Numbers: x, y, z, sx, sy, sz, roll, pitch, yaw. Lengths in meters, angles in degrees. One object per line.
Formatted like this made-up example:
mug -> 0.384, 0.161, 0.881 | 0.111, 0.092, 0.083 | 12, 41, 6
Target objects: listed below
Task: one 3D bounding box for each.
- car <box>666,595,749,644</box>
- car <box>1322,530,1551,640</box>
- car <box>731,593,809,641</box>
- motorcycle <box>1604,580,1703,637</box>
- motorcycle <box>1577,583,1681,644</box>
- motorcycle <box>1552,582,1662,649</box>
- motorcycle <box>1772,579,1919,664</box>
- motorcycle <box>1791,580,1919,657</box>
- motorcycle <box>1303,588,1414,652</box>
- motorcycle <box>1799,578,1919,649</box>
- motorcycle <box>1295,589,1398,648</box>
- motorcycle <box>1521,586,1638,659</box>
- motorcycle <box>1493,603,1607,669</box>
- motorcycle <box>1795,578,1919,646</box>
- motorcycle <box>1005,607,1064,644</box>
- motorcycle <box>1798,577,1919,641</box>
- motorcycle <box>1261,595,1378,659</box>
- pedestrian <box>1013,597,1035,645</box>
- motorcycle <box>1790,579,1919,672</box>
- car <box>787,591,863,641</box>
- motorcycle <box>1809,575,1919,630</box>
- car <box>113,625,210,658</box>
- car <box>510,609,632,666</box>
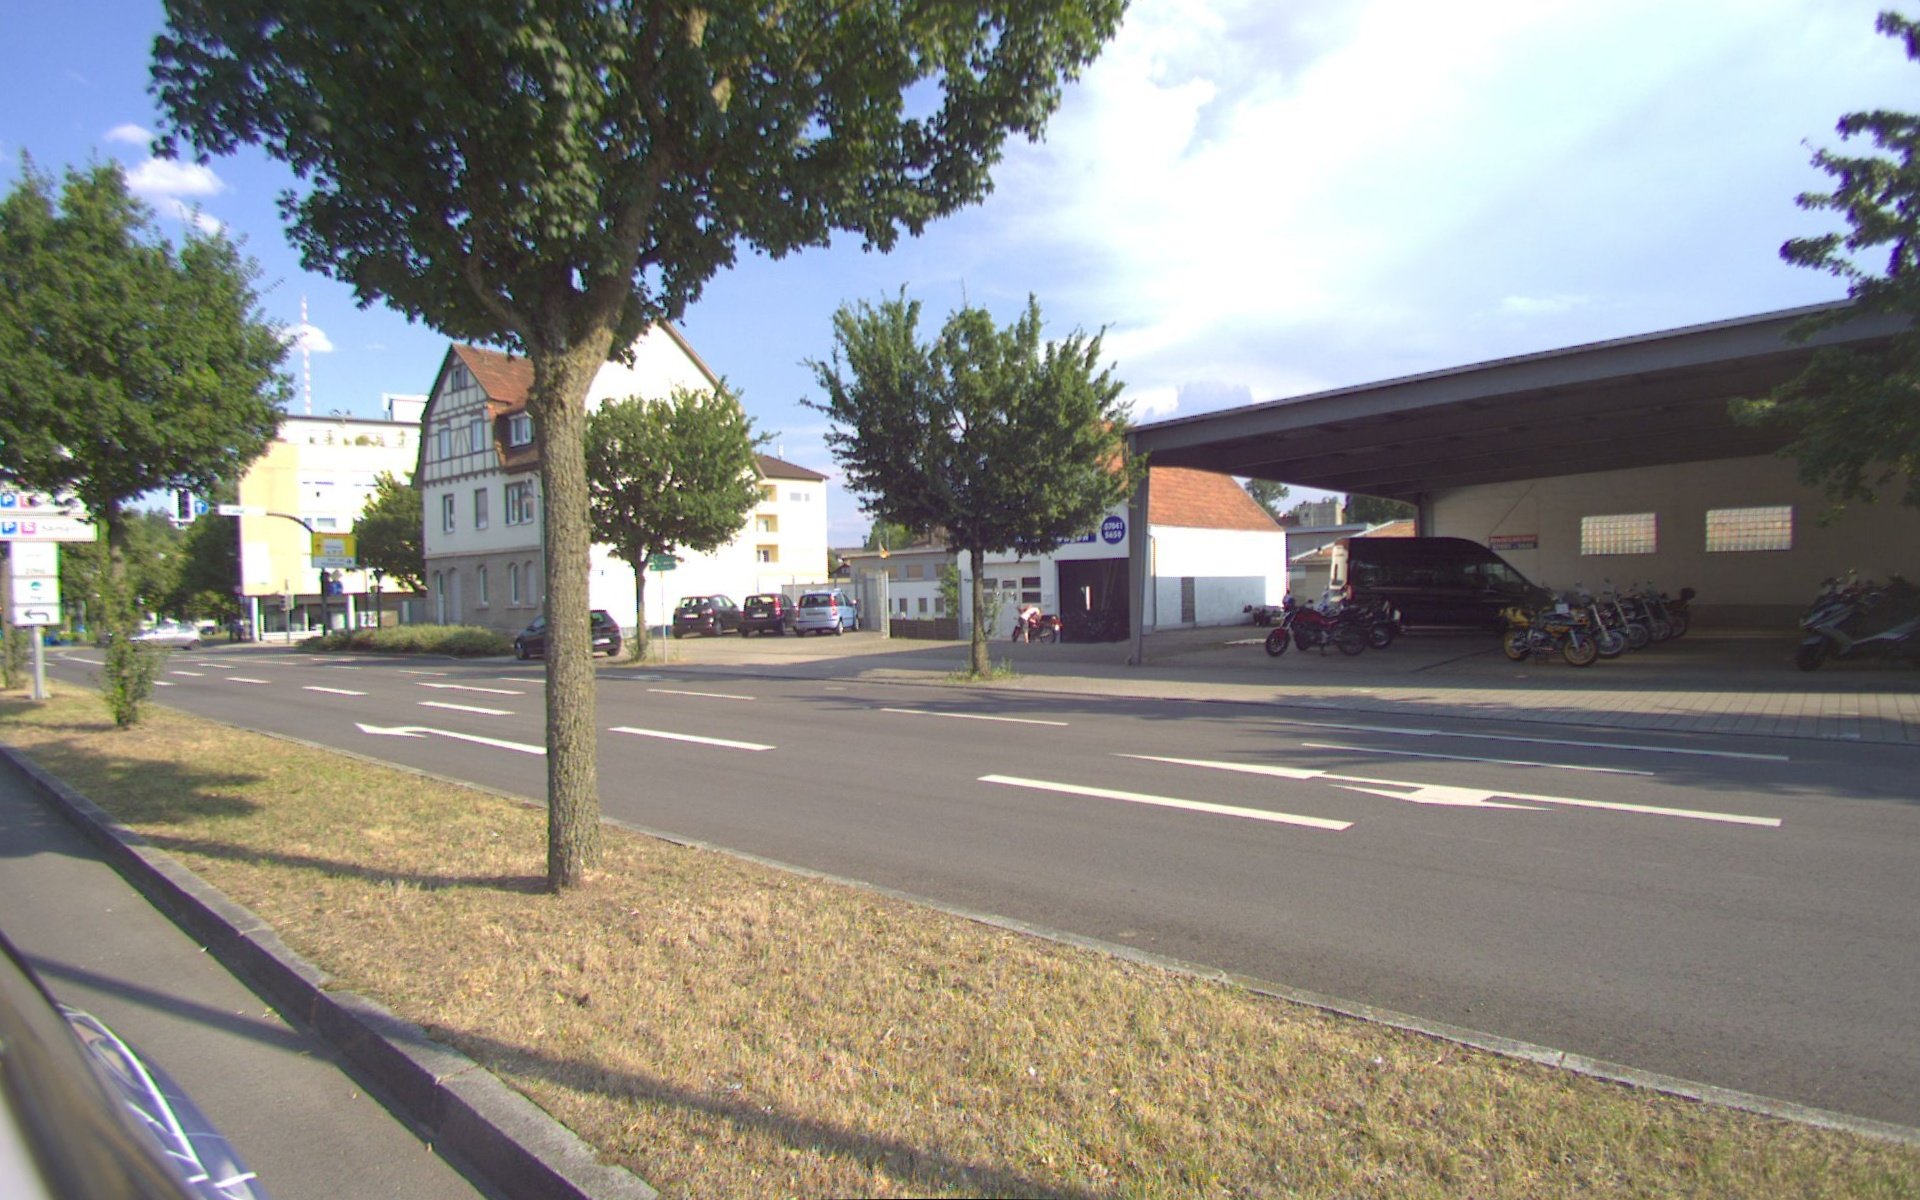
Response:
car -> -9.324, 0.684, 37.706 | 1.797, 1.512, 3.819 | -3, 2, 5
car -> 12.864, -0.382, 27.635 | 5.221, 2.773, 1.996 | -1, 0, 7
car -> -6.923, 0.580, 37.314 | 1.797, 1.512, 3.819 | -3, 2, 5
motorcycle -> 17.289, 0.217, 25.310 | 0.621, 1.347, 2.269 | -1, 0, -9
motorcycle -> 15.535, 0.299, 23.586 | 0.621, 1.347, 2.269 | -1, 0, -9
motorcycle -> 13.862, 0.321, 21.776 | 0.621, 1.347, 2.269 | -1, 0, -9
motorcycle -> 14.911, 0.358, 16.783 | 2.103, 1.306, 0.628 | -3, -1, 17
motorcycle -> 16.529, 0.337, 18.355 | 2.103, 1.306, 0.628 | -3, -1, 17
motorcycle -> 8.954, 0.446, 22.811 | 2.198, 1.372, 0.630 | -1, 0, 5
motorcycle -> 18.043, 0.266, 19.995 | 2.103, 1.306, 0.628 | -3, -1, 17
motorcycle -> 9.377, 0.448, 24.614 | 2.198, 1.372, 0.630 | -1, 0, 5
motorcycle -> 12.156, 0.434, 19.963 | 0.621, 1.347, 2.269 | -1, 0, -9
motorcycle -> 10.529, 0.615, 18.158 | 0.621, 1.095, 2.038 | -1, 0, -7
motorcycle -> 19.032, 0.253, 21.296 | 2.103, 1.306, 0.628 | -3, -1, 17
motorcycle -> 2.432, 0.834, 33.217 | 1.974, 1.194, 0.577 | -1, 0, 41
motorcycle -> 20.226, 0.204, 22.651 | 2.103, 1.306, 0.628 | -3, -1, 17
motorcycle -> 7.494, 0.557, 21.167 | 2.202, 1.290, 0.629 | -1, 0, 11
pedestrian -> 2.070, 0.670, 32.771 | 0.485, 1.530, 0.496 | -1, 0, 41
motorcycle -> 13.859, 0.372, 15.122 | 2.103, 1.306, 0.628 | -3, -1, 17
car -> -4.684, 0.514, 35.684 | 1.797, 1.512, 3.819 | -3, 2, 5
motorcycle -> 23.732, 0.071, 26.528 | 2.103, 1.306, 0.628 | -3, -1, 17
car -> -44.723, 2.294, 56.767 | 1.858, 1.644, 3.949 | -1, 0, 38
car -> -11.602, 1.074, 30.083 | 3.823, 1.462, 1.795 | -1, 2, 42
